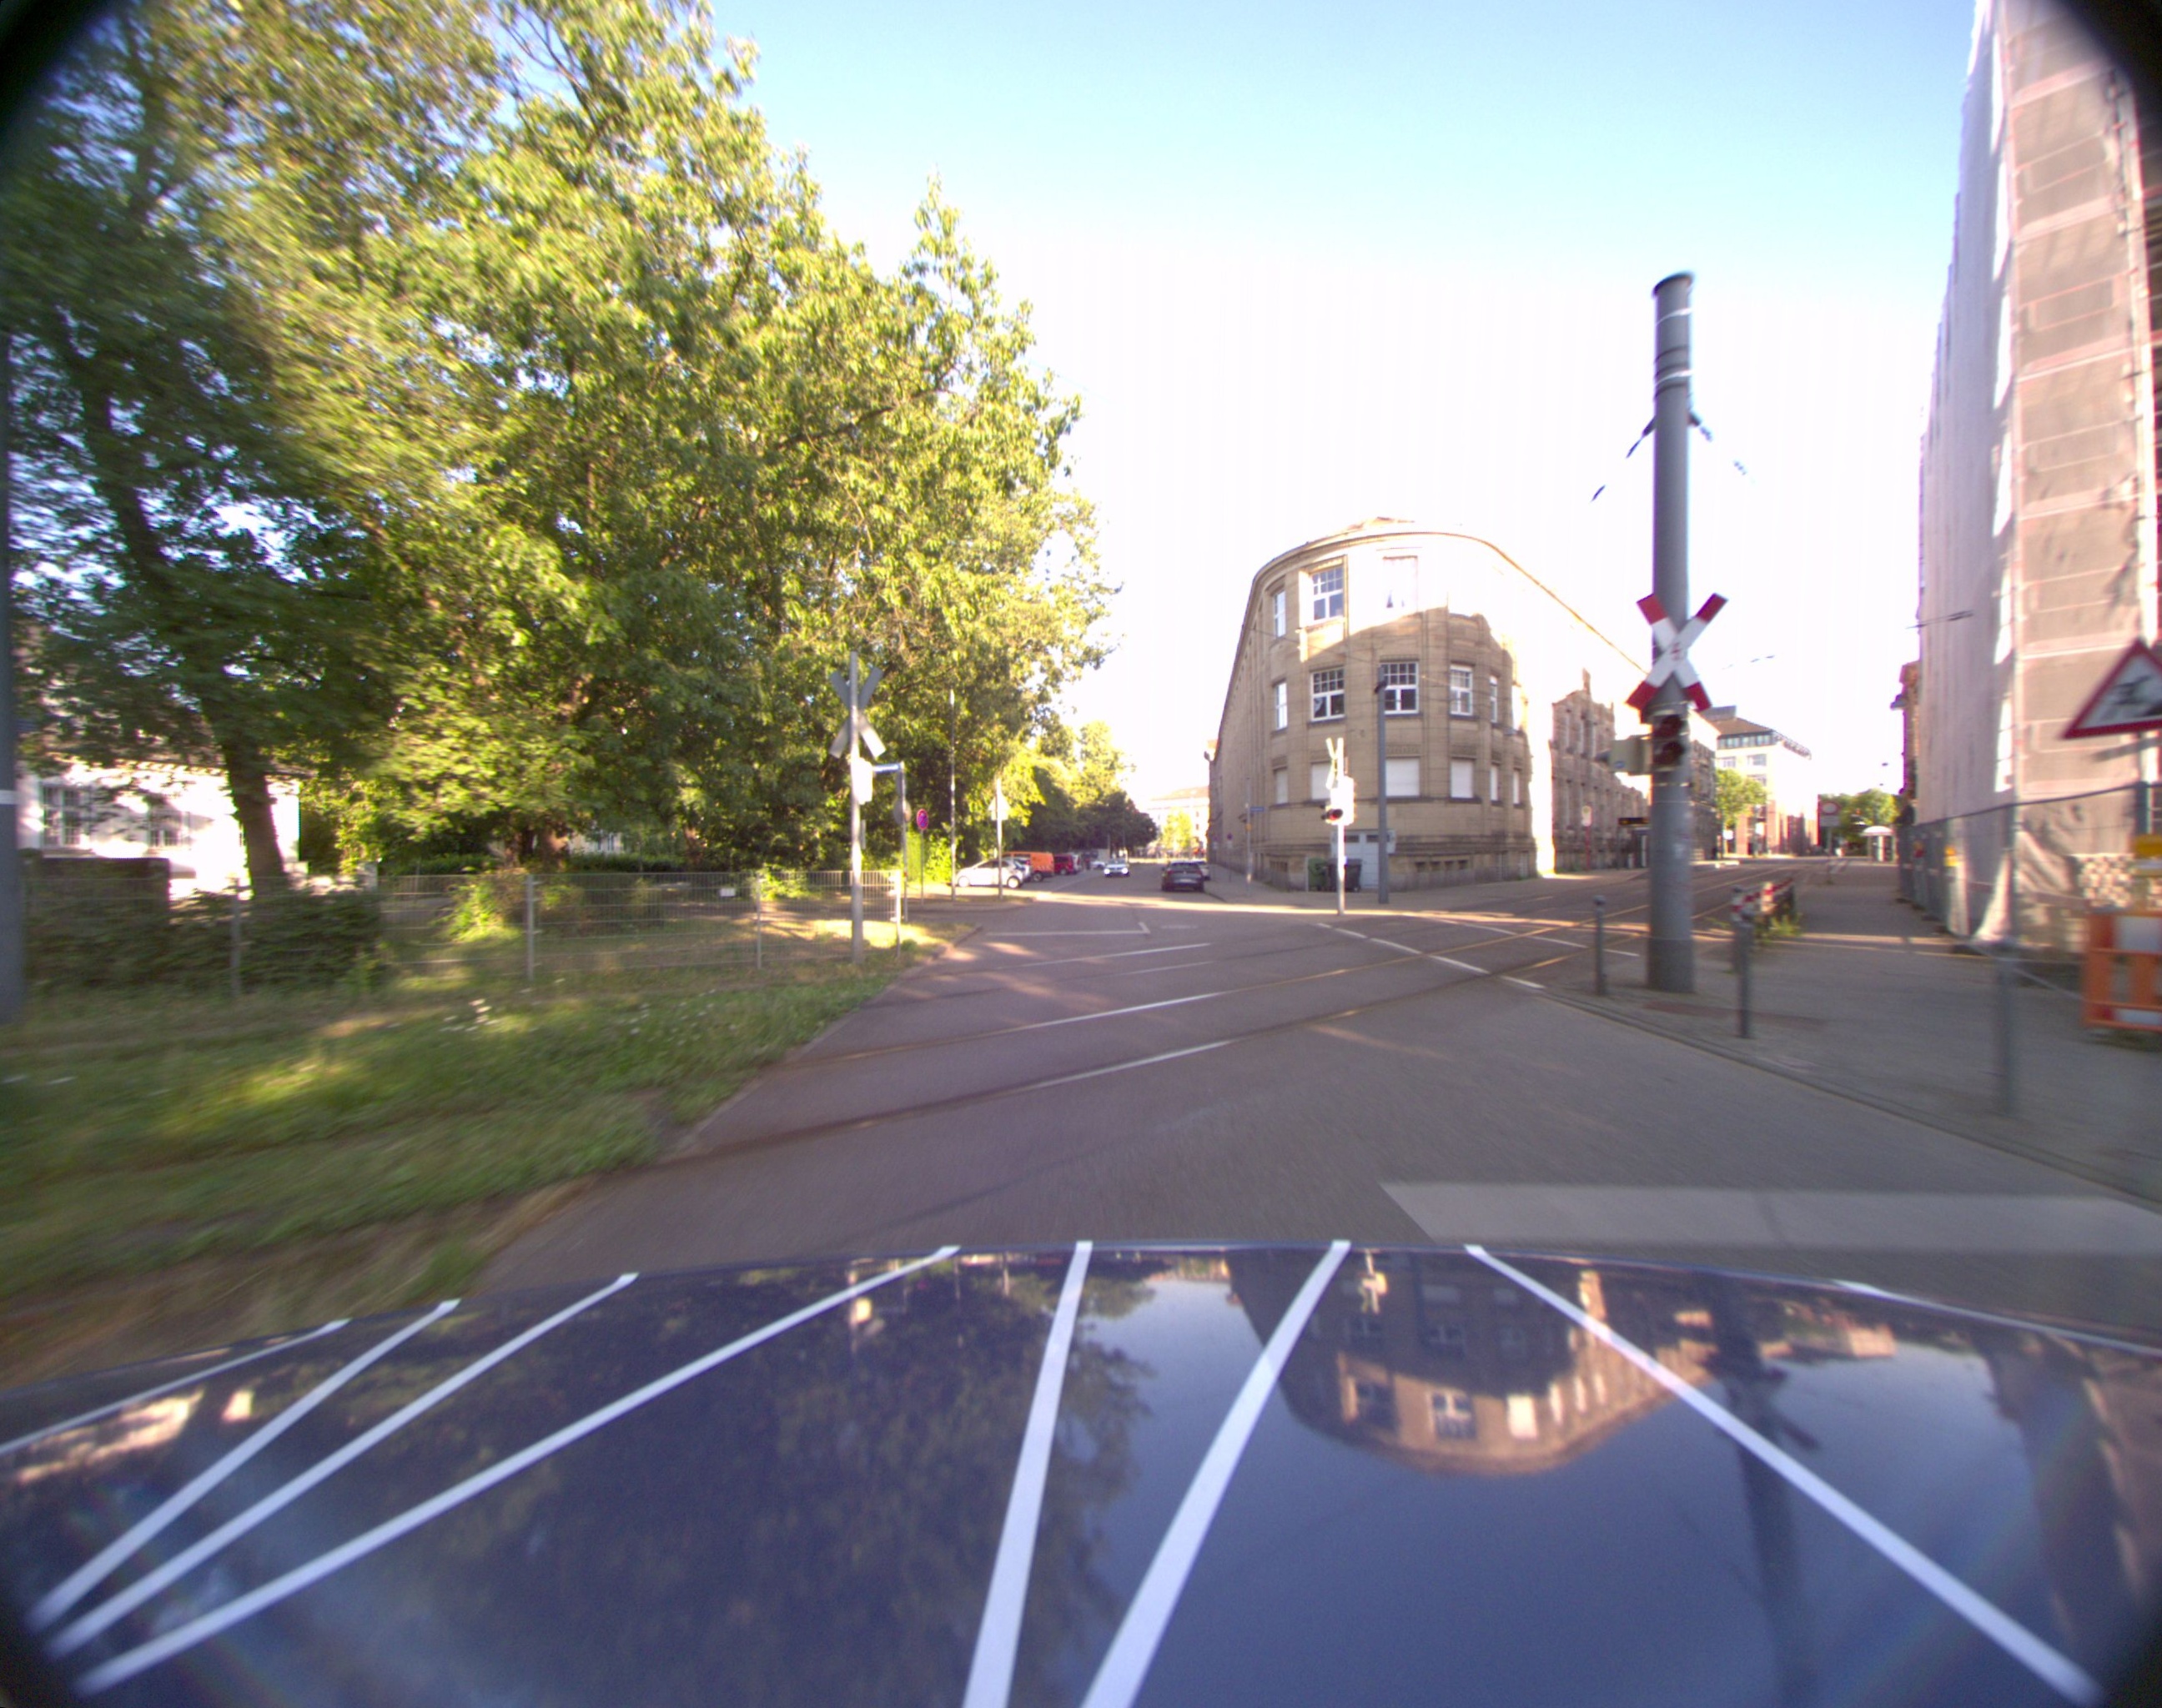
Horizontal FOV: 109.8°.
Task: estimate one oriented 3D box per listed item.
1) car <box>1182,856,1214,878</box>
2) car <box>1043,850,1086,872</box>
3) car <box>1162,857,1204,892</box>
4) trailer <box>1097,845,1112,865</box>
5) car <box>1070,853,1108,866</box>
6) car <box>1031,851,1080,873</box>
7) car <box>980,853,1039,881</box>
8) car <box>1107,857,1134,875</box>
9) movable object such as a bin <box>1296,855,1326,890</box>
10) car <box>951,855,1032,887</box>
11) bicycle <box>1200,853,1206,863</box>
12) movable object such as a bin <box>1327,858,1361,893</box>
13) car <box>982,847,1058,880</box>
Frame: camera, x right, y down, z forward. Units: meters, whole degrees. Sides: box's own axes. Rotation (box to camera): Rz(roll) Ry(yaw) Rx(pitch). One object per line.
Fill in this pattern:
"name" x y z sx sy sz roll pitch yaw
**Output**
"car" 7.975 0.857 52.047 1.747 1.426 4.562 -2 0 4
"car" -1.483 0.606 69.099 3.607 1.873 1.785 1 1 9
"car" 4.630 0.902 34.975 1.747 1.439 4.210 0 0 5
"trailer" 3.186 0.063 101.613 1.600 2.625 3.705 0 0 9
"car" 0.963 0.646 91.281 4.439 1.458 1.712 0 1 9
"car" -2.271 0.694 67.134 3.978 1.852 1.921 1 1 10
"car" -4.508 0.789 47.988 3.403 1.622 1.680 1 1 6
"car" 3.273 0.950 61.940 1.686 1.445 4.106 0 0 10
"movable object such as a bin" 9.928 0.783 32.864 1.147 1.477 1.629 0 0 15
"car" -4.648 0.890 39.969 3.996 1.538 1.735 1 1 2
"bicycle" 15.239 0.505 95.110 0.457 1.202 1.880 0 0 17
"movable object such as a bin" 10.895 0.868 31.529 1.184 1.420 1.924 0 0 15
"car" -4.032 0.614 50.693 4.807 1.986 2.081 1 1 2
